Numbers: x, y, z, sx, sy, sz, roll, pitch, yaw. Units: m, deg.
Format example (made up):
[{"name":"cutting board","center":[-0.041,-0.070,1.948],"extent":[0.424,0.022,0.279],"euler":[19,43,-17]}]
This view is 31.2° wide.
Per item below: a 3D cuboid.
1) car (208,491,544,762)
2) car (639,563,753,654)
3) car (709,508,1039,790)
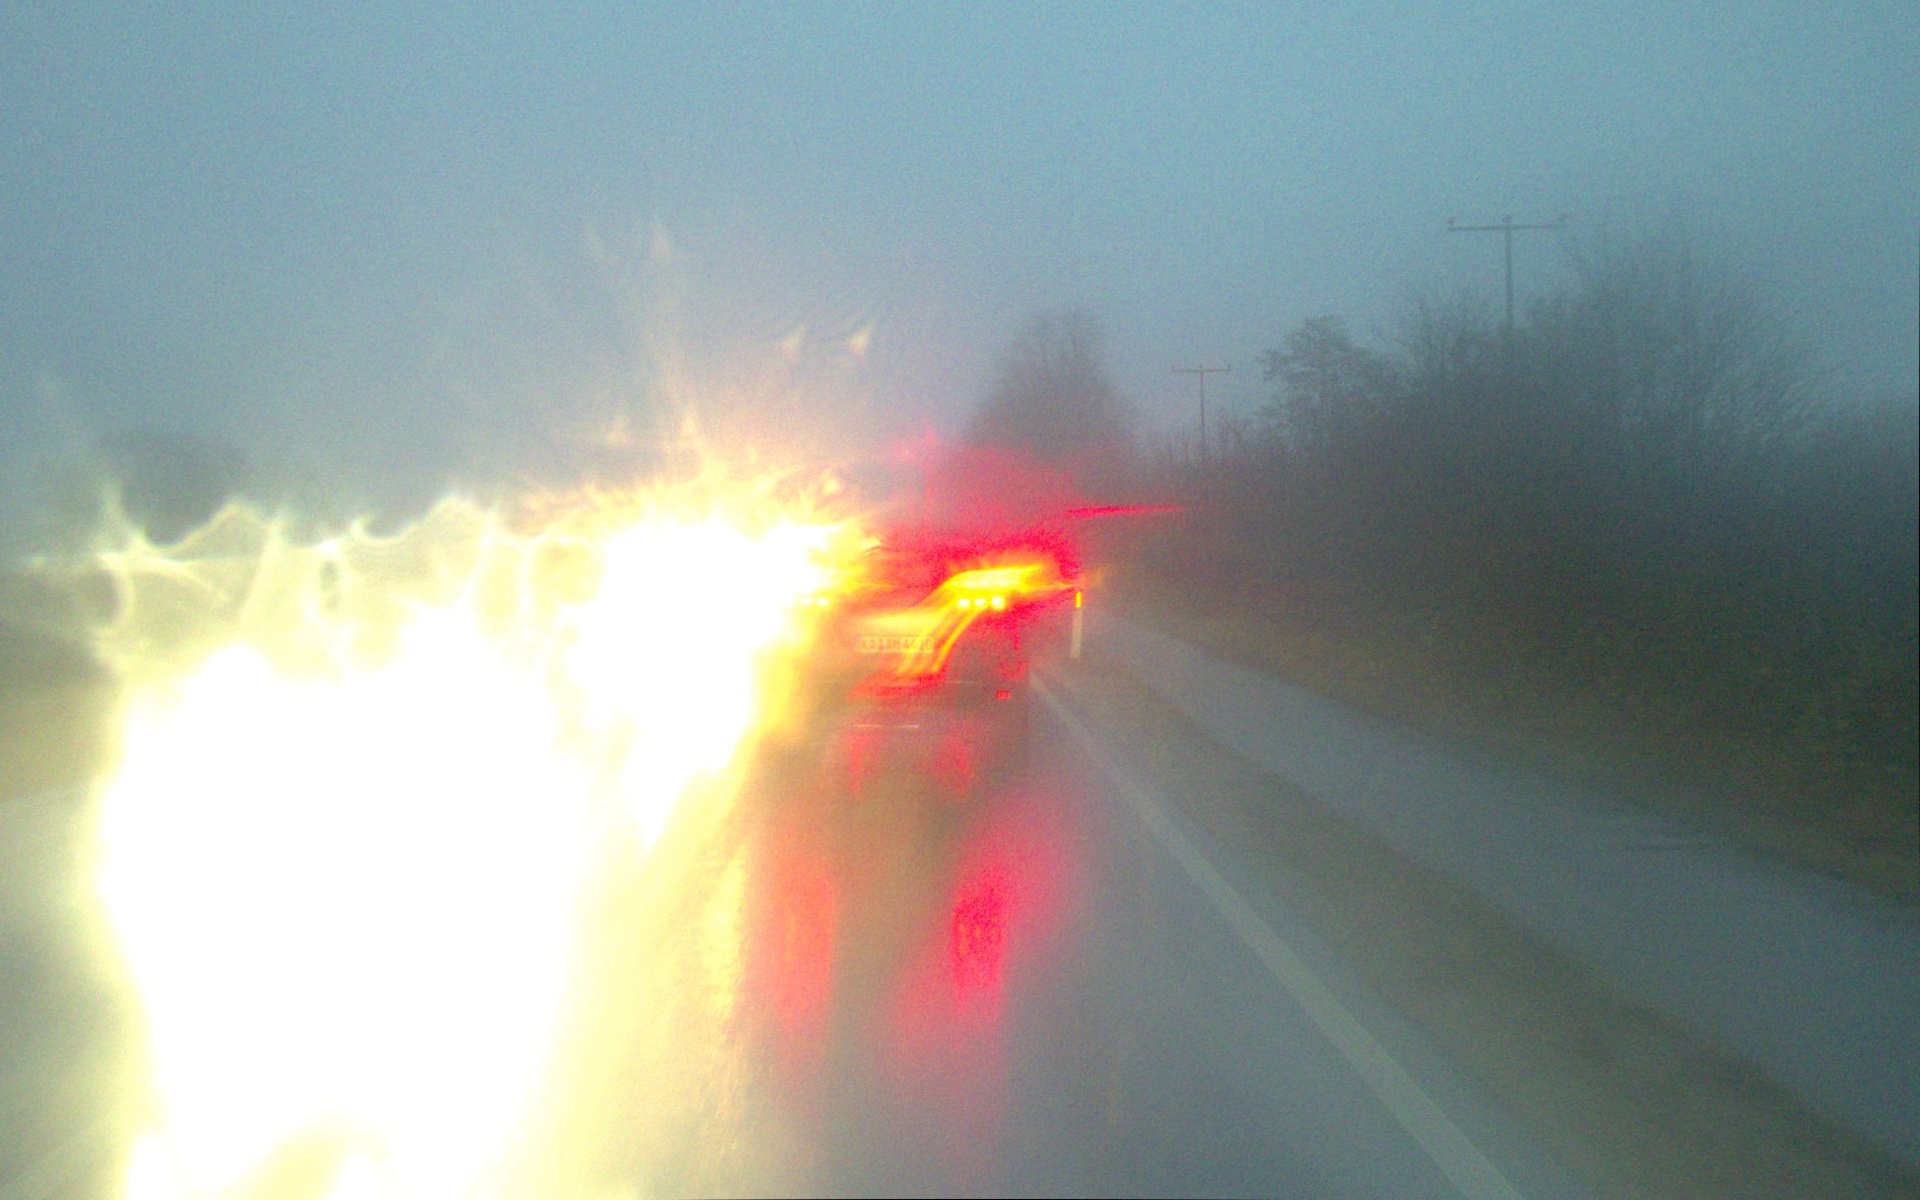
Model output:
[{"name":"car","center":[-4.297,0.138,25.939],"extent":[1.824,1.800,4.495],"euler":[-2,1,-2]},{"name":"car","center":[-4.606,0.127,60.383],"extent":[1.688,1.474,3.774],"euler":[-1,1,0]},{"name":"car","center":[-0.577,0.264,24.614],"extent":[2.120,1.813,4.980],"euler":[0,1,-1]}]
